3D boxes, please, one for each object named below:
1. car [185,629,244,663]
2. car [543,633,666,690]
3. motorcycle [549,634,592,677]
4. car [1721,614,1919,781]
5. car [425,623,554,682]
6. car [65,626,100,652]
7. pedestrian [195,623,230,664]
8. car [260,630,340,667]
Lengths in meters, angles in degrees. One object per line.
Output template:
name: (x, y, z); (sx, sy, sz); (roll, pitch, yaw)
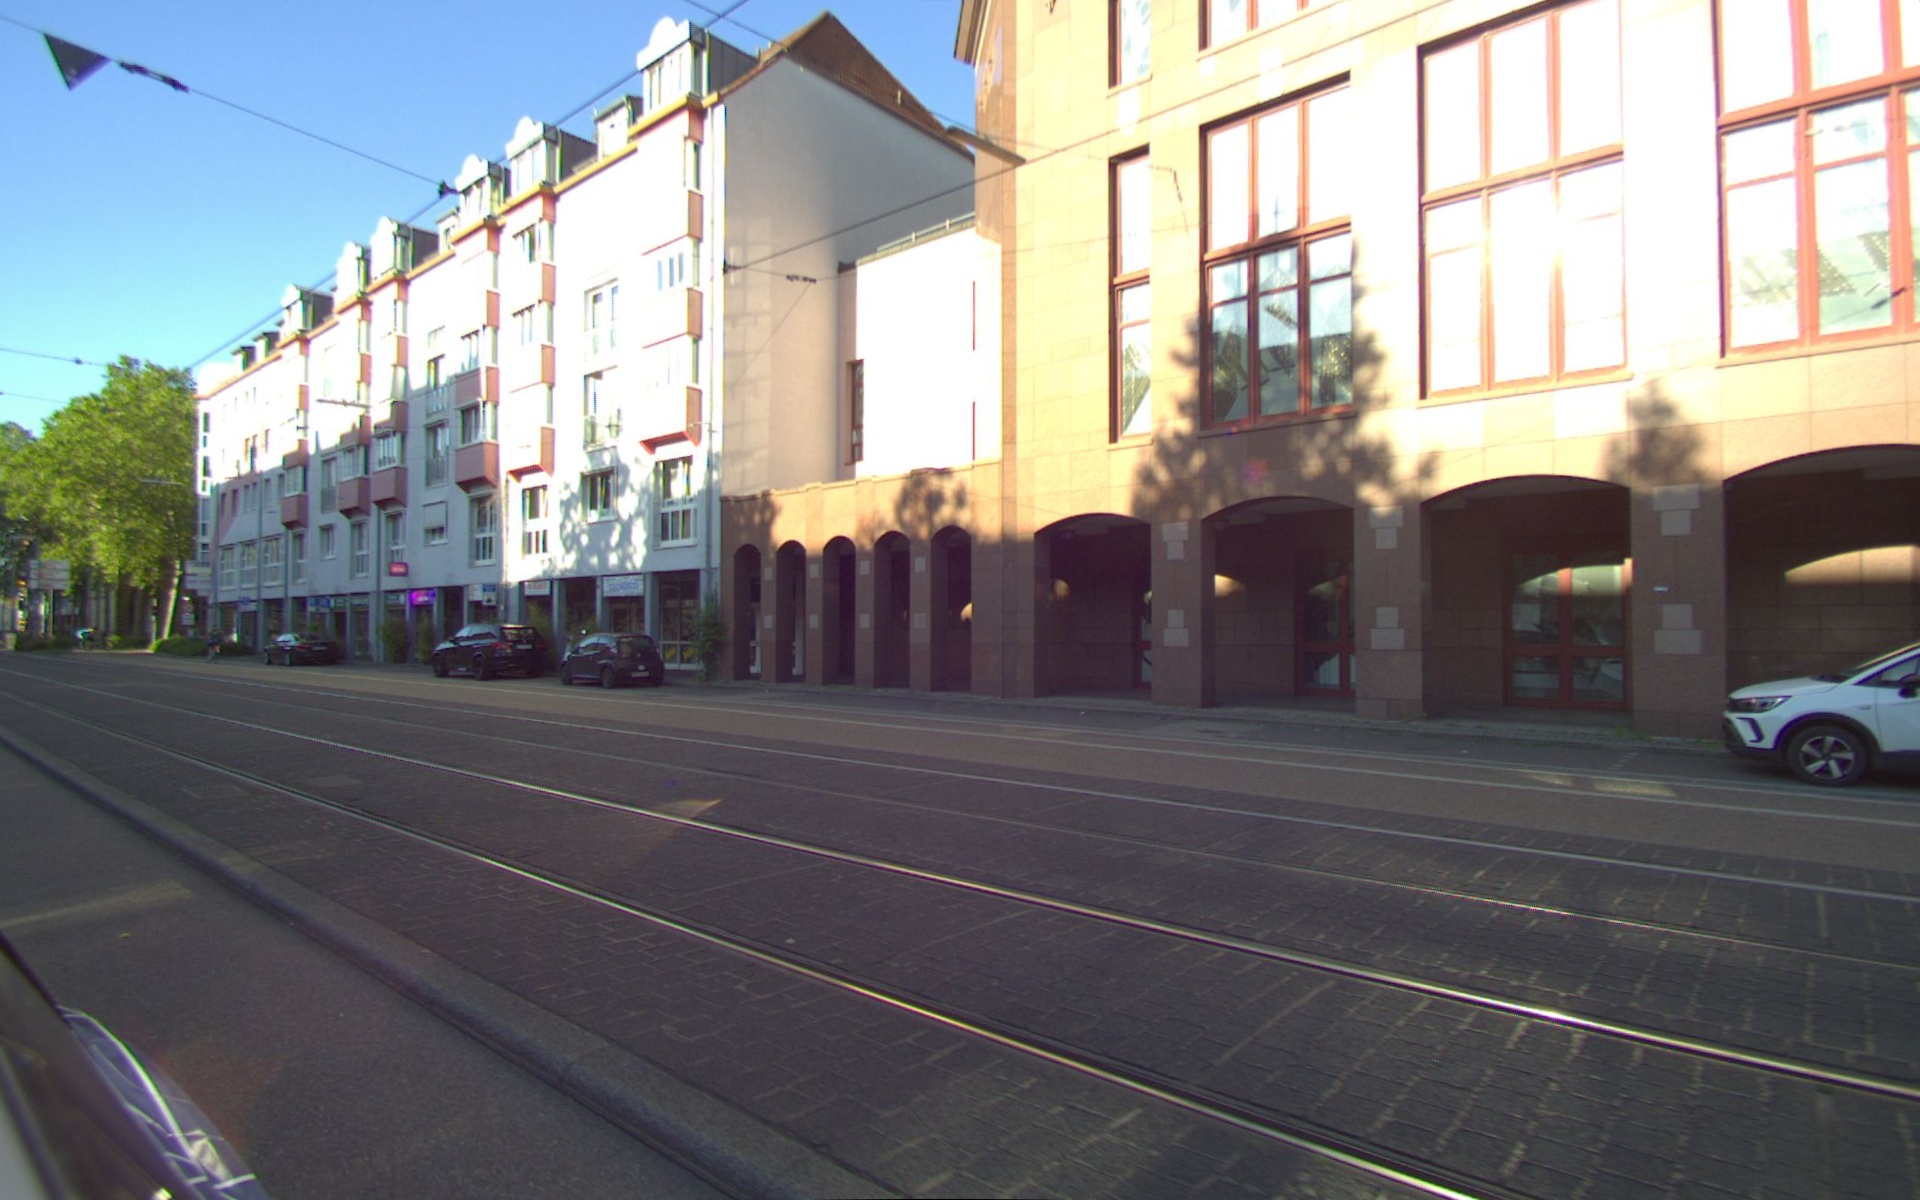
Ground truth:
car: (-40.814, 2.482, 55.388); (4.385, 1.811, 1.905); (-2, -3, 44)
car: (-9.799, 1.638, 27.777); (3.682, 1.411, 1.624); (-2, -1, 42)
motorcycle: (-12.422, 1.733, 32.214); (0.760, 1.290, 2.142); (0, -1, -36)
car: (10.412, 0.962, 10.236); (4.273, 1.602, 1.579); (-1, 0, 39)
car: (-14.948, 1.602, 32.068); (4.556, 1.713, 1.939); (-2, -1, 40)
car: (-58.357, 2.608, 67.308); (2.881, 1.686, 1.365); (-2, -3, 42)
pedestrian: (-33.822, 1.963, 45.785); (1.081, 1.792, 1.253); (3, -3, -44)
car: (-29.130, 2.100, 44.604); (4.559, 1.520, 1.805); (-2, -1, 41)
